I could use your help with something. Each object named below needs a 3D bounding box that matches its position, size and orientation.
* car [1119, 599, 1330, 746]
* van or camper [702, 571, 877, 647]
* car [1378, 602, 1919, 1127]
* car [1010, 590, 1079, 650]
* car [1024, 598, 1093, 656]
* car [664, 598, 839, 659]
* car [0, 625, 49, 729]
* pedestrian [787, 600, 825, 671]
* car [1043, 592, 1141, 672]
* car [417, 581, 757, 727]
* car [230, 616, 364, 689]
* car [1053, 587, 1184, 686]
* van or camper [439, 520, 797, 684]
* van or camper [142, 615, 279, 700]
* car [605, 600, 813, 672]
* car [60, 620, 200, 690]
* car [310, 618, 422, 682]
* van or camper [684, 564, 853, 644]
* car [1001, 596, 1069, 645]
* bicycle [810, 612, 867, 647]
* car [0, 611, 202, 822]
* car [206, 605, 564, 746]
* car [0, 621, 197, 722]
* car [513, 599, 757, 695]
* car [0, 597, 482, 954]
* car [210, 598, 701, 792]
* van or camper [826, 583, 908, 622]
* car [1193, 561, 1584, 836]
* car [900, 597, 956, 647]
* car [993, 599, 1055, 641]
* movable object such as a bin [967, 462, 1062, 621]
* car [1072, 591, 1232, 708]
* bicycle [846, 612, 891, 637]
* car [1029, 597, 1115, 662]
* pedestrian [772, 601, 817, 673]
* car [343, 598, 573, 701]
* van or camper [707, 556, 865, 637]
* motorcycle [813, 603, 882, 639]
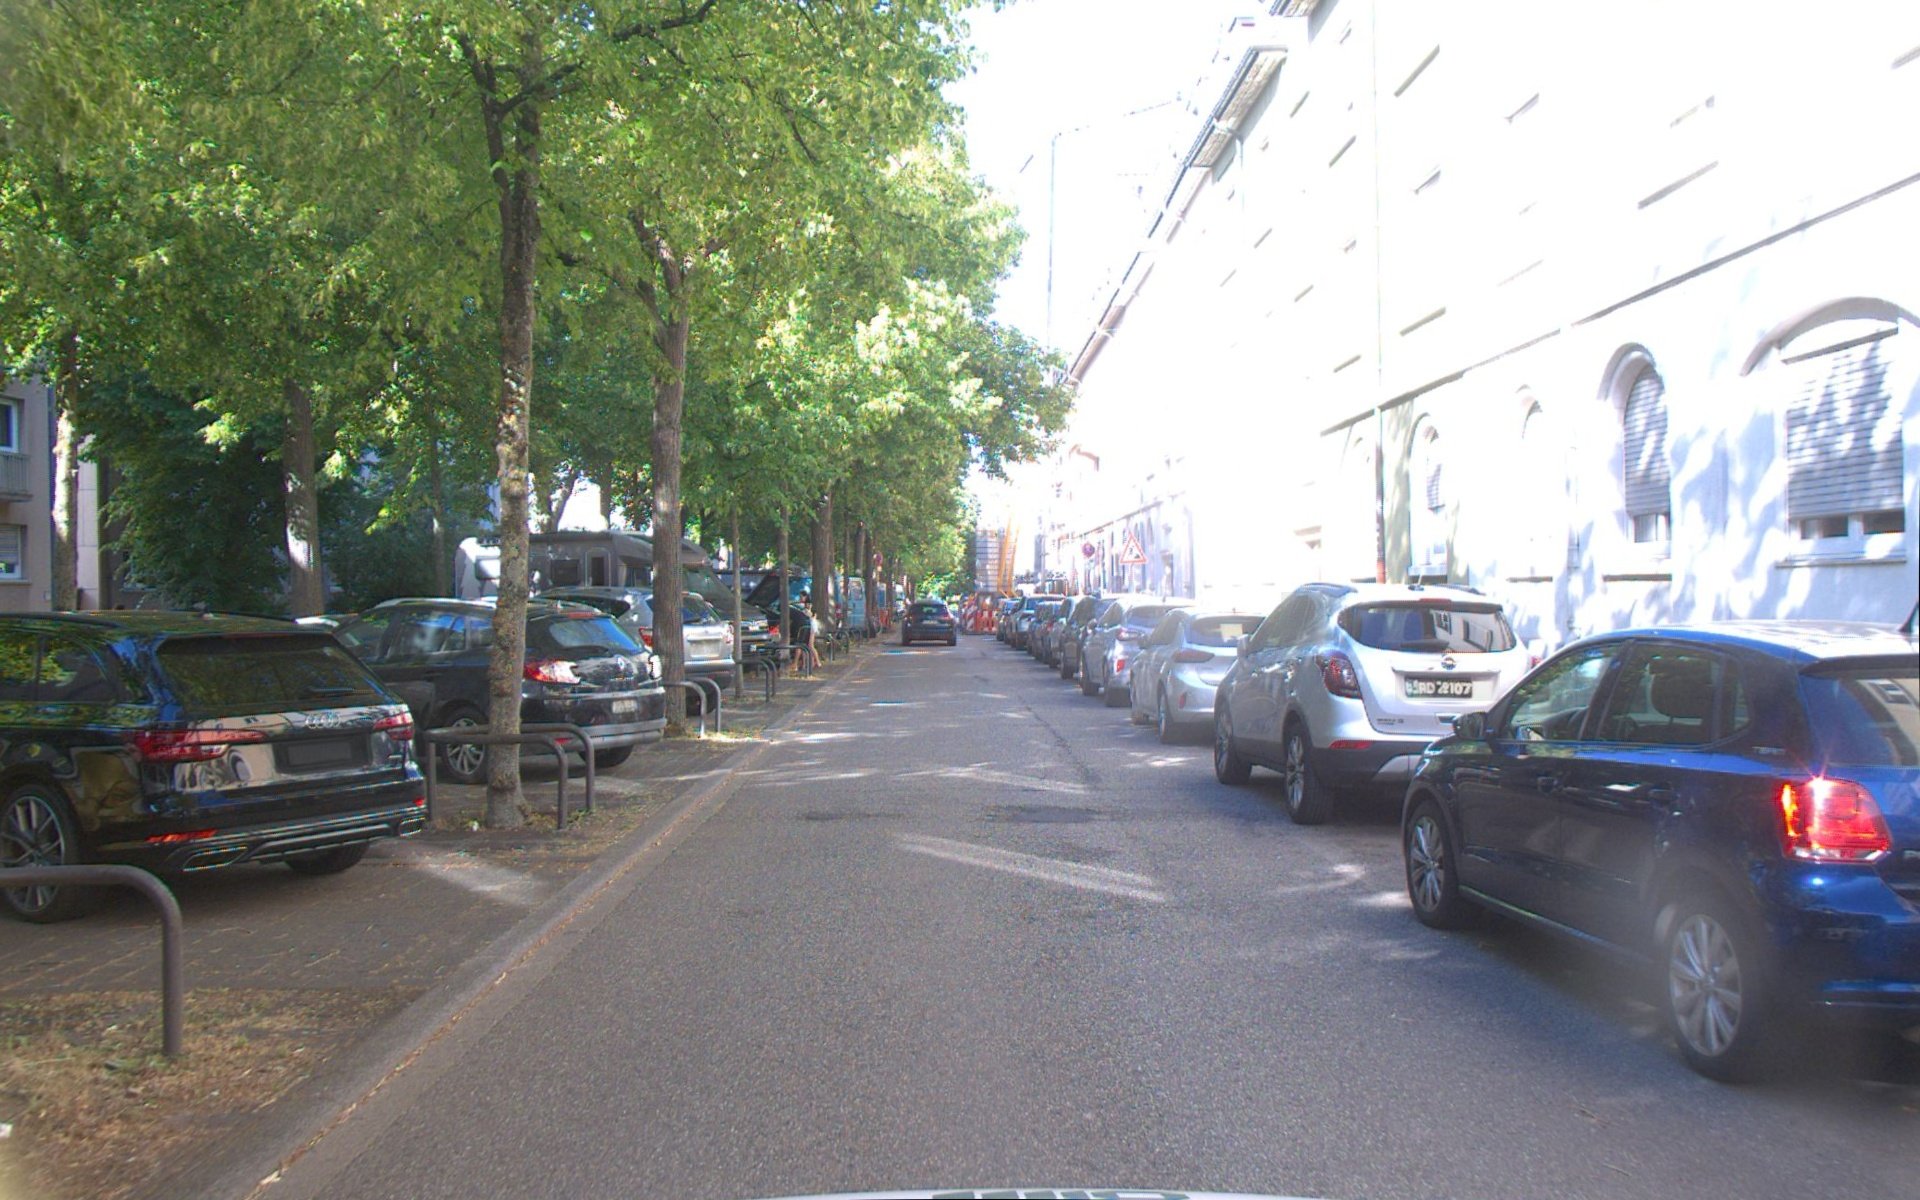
[{"bbox_3d":[2.944,0.754,19.227,1.687,1.457,4.157,-2,0,-1],"label":"car"},{"bbox_3d":[-5.714,0.296,55.433,5.386,2.315,2.220,-2,0,23],"label":"van or camper"},{"bbox_3d":[3.073,0.745,6.647,1.519,1.418,3.857,-2,0,-5],"label":"car"},{"bbox_3d":[2.520,0.573,50.466,1.779,1.703,4.672,-2,0,-1],"label":"car"},{"bbox_3d":[2.635,0.697,45.012,1.585,1.437,3.787,-2,0,-1],"label":"car"},{"bbox_3d":[-5.415,0.741,42.833,4.393,1.468,1.728,-1,0,32],"label":"car"},{"bbox_3d":[-15.405,1.211,23.914,1.953,1.534,4.532,-2,0,-1],"label":"car"},{"bbox_3d":[-3.267,0.753,35.166,0.602,1.481,0.519,-2,0,22],"label":"pedestrian"},{"bbox_3d":[2.743,0.638,34.976,1.598,1.561,3.591,-2,0,-2],"label":"car"},{"bbox_3d":[-4.780,0.668,21.120,4.054,1.708,1.757,-1,0,28],"label":"car"},{"bbox_3d":[-15.508,1.201,38.884,1.630,1.525,3.769,-2,0,-1],"label":"car"},{"bbox_3d":[2.802,0.603,30.079,1.688,1.624,4.155,-2,0,-4],"label":"car"},{"bbox_3d":[-6.965,0.091,33.359,7.084,2.981,2.312,-2,0,26],"label":"van or camper"},{"bbox_3d":[-15.412,1.152,34.125,1.564,1.582,2.697,-2,0,-1],"label":"van or camper"},{"bbox_3d":[-5.449,0.780,35.808,4.230,1.449,1.674,-1,0,26],"label":"car"},{"bbox_3d":[-20.224,1.310,40.436,1.592,1.507,3.611,-2,0,-1],"label":"car"},{"bbox_3d":[-15.793,1.293,44.168,1.630,1.525,3.769,-2,0,-1],"label":"car"},{"bbox_3d":[-6.925,0.158,59.660,5.756,2.683,2.252,-2,0,29],"label":"van or camper"},{"bbox_3d":[2.501,0.658,55.899,1.756,1.550,3.959,-2,0,-5],"label":"car"},{"bbox_3d":[-3.801,0.931,51.786,1.702,1.023,0.506,-2,0,-31],"label":"bicycle"},{"bbox_3d":[-7.992,0.878,13.446,3.560,1.481,1.811,-1,0,36],"label":"car"},{"bbox_3d":[-6.638,0.793,19.006,3.956,1.427,1.820,0,0,32],"label":"car"},{"bbox_3d":[-15.396,1.210,29.350,1.728,1.534,4.308,-2,0,-1],"label":"car"},{"bbox_3d":[-5.685,0.826,28.881,3.910,1.533,1.755,-2,0,28],"label":"car"},{"bbox_3d":[-4.808,0.786,8.889,4.392,1.481,1.784,-1,0,31],"label":"car"},{"bbox_3d":[-4.503,0.768,14.554,4.329,1.487,1.712,-1,-1,32],"label":"car"},{"bbox_3d":[-6.465,0.156,114.238,5.235,2.518,2.289,-2,0,31],"label":"van or camper"},{"bbox_3d":[3.060,0.624,12.718,1.688,1.715,4.155,-2,0,-3],"label":"car"},{"bbox_3d":[-1.079,0.695,54.502,1.761,1.530,3.584,-2,0,-2],"label":"car"},{"bbox_3d":[2.318,0.693,60.831,1.953,1.434,4.499,-1,0,-2],"label":"car"},{"bbox_3d":[2.444,-2.565,73.785,3.415,6.878,2.363,-1,0,32],"label":"movable object such as a bin"},{"bbox_3d":[2.784,0.673,24.816,1.688,1.555,4.156,-2,0,-3],"label":"car"},{"bbox_3d":[-3.888,1.032,70.100,1.858,1.024,0.430,-2,0,23],"label":"bicycle"},{"bbox_3d":[2.651,0.676,39.916,1.598,1.437,4.087,-2,0,-2],"label":"car"},{"bbox_3d":[-3.458,0.773,34.599,0.695,1.481,0.596,-2,0,22],"label":"pedestrian"},{"bbox_3d":[-8.198,0.797,26.962,3.469,1.533,1.753,-2,0,33],"label":"car"},{"bbox_3d":[-7.669,-0.141,72.753,6.528,3.297,2.492,-2,0,28],"label":"van or camper"},{"bbox_3d":[-4.321,0.806,63.645,2.496,1.280,0.763,-2,0,7],"label":"motorcycle"}]
